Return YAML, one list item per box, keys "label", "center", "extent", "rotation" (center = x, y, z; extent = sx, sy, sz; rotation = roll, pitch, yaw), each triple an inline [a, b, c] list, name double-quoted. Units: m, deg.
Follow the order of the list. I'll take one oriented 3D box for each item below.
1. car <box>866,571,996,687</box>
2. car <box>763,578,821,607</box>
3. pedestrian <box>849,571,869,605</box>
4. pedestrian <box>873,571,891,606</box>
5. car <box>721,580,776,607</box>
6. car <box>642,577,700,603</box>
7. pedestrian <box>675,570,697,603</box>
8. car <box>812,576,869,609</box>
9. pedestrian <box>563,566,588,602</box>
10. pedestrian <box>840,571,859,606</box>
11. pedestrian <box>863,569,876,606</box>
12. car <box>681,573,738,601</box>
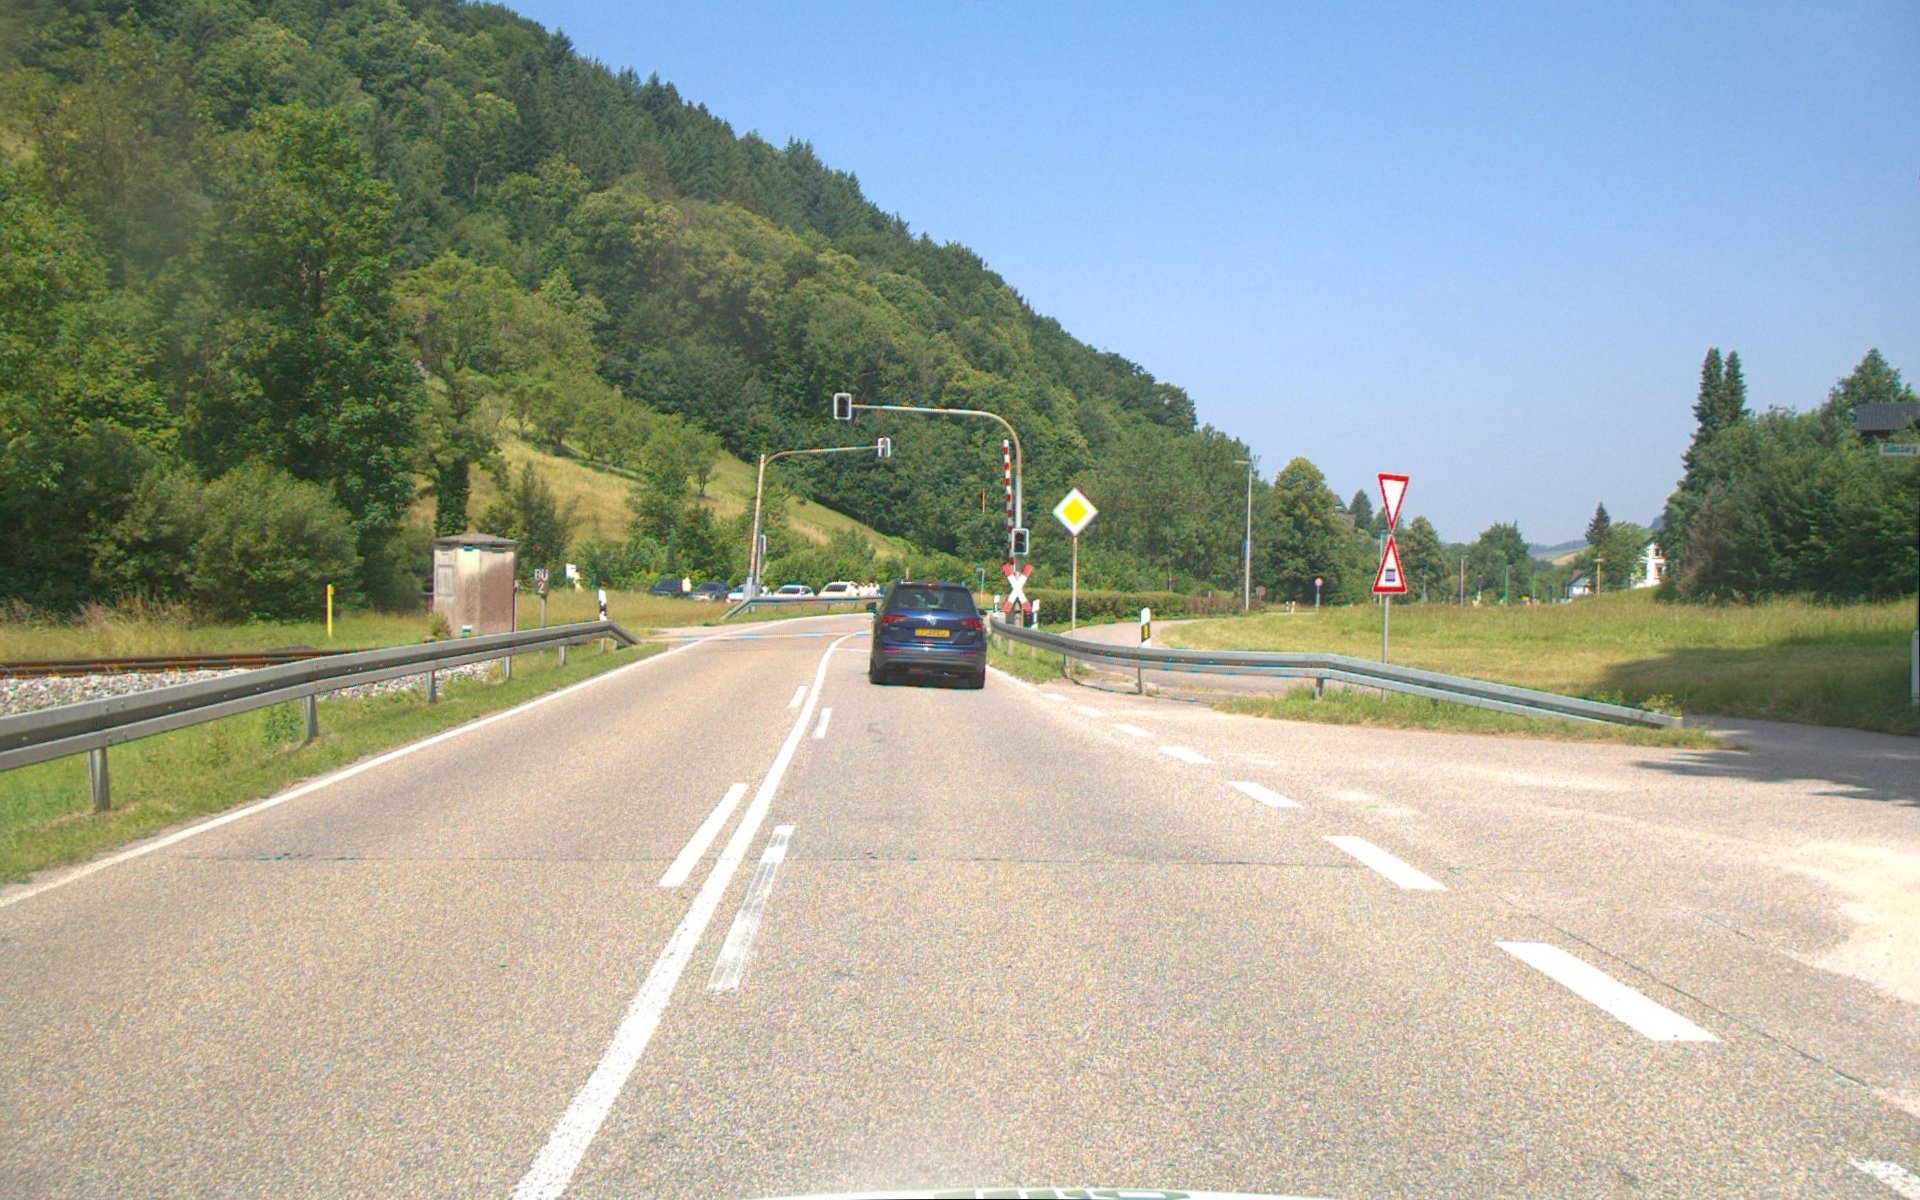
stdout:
- label: "car"
  center: [-0.548, 0.415, 26.992]
  extent: [1.816, 1.678, 4.136]
  rotation: [2, 0, -5]
- label: "car"
  center: [-9.859, -0.426, 97.577]
  extent: [1.951, 1.670, 4.906]
  rotation: [0, 0, 13]
- label: "pedestrian"
  center: [-5.534, -0.662, 90.368]
  extent: [0.756, 1.827, 0.790]
  rotation: [0, 0, 39]
- label: "pedestrian"
  center: [-4.248, -0.610, 90.395]
  extent: [0.765, 1.891, 0.639]
  rotation: [0, 0, -44]
- label: "car"
  center: [-12.488, -0.394, 97.809]
  extent: [1.951, 1.527, 4.525]
  rotation: [0, 0, 11]
- label: "car"
  center: [-17.254, -0.607, 98.979]
  extent: [1.951, 1.527, 4.525]
  rotation: [0, 0, 11]
- label: "pedestrian"
  center: [-15.245, -0.734, 92.055]
  extent: [0.933, 1.826, 1.001]
  rotation: [0, 0, 6]
- label: "car"
  center: [-7.017, -0.437, 97.590]
  extent: [1.831, 1.813, 4.775]
  rotation: [1, 0, 16]
- label: "pedestrian"
  center: [-21.938, -0.917, 94.372]
  extent: [1.104, 2.004, 0.860]
  rotation: [0, 0, 28]
- label: "pedestrian"
  center: [-5.999, -0.637, 89.492]
  extent: [0.772, 1.874, 0.698]
  rotation: [1, 0, 24]
- label: "pedestrian"
  center: [-4.897, -0.663, 89.846]
  extent: [0.646, 1.989, 0.533]
  rotation: [0, 0, 3]
- label: "car"
  center: [-14.872, -0.771, 98.387]
  extent: [1.951, 1.527, 4.525]
  rotation: [2, 1, 11]
